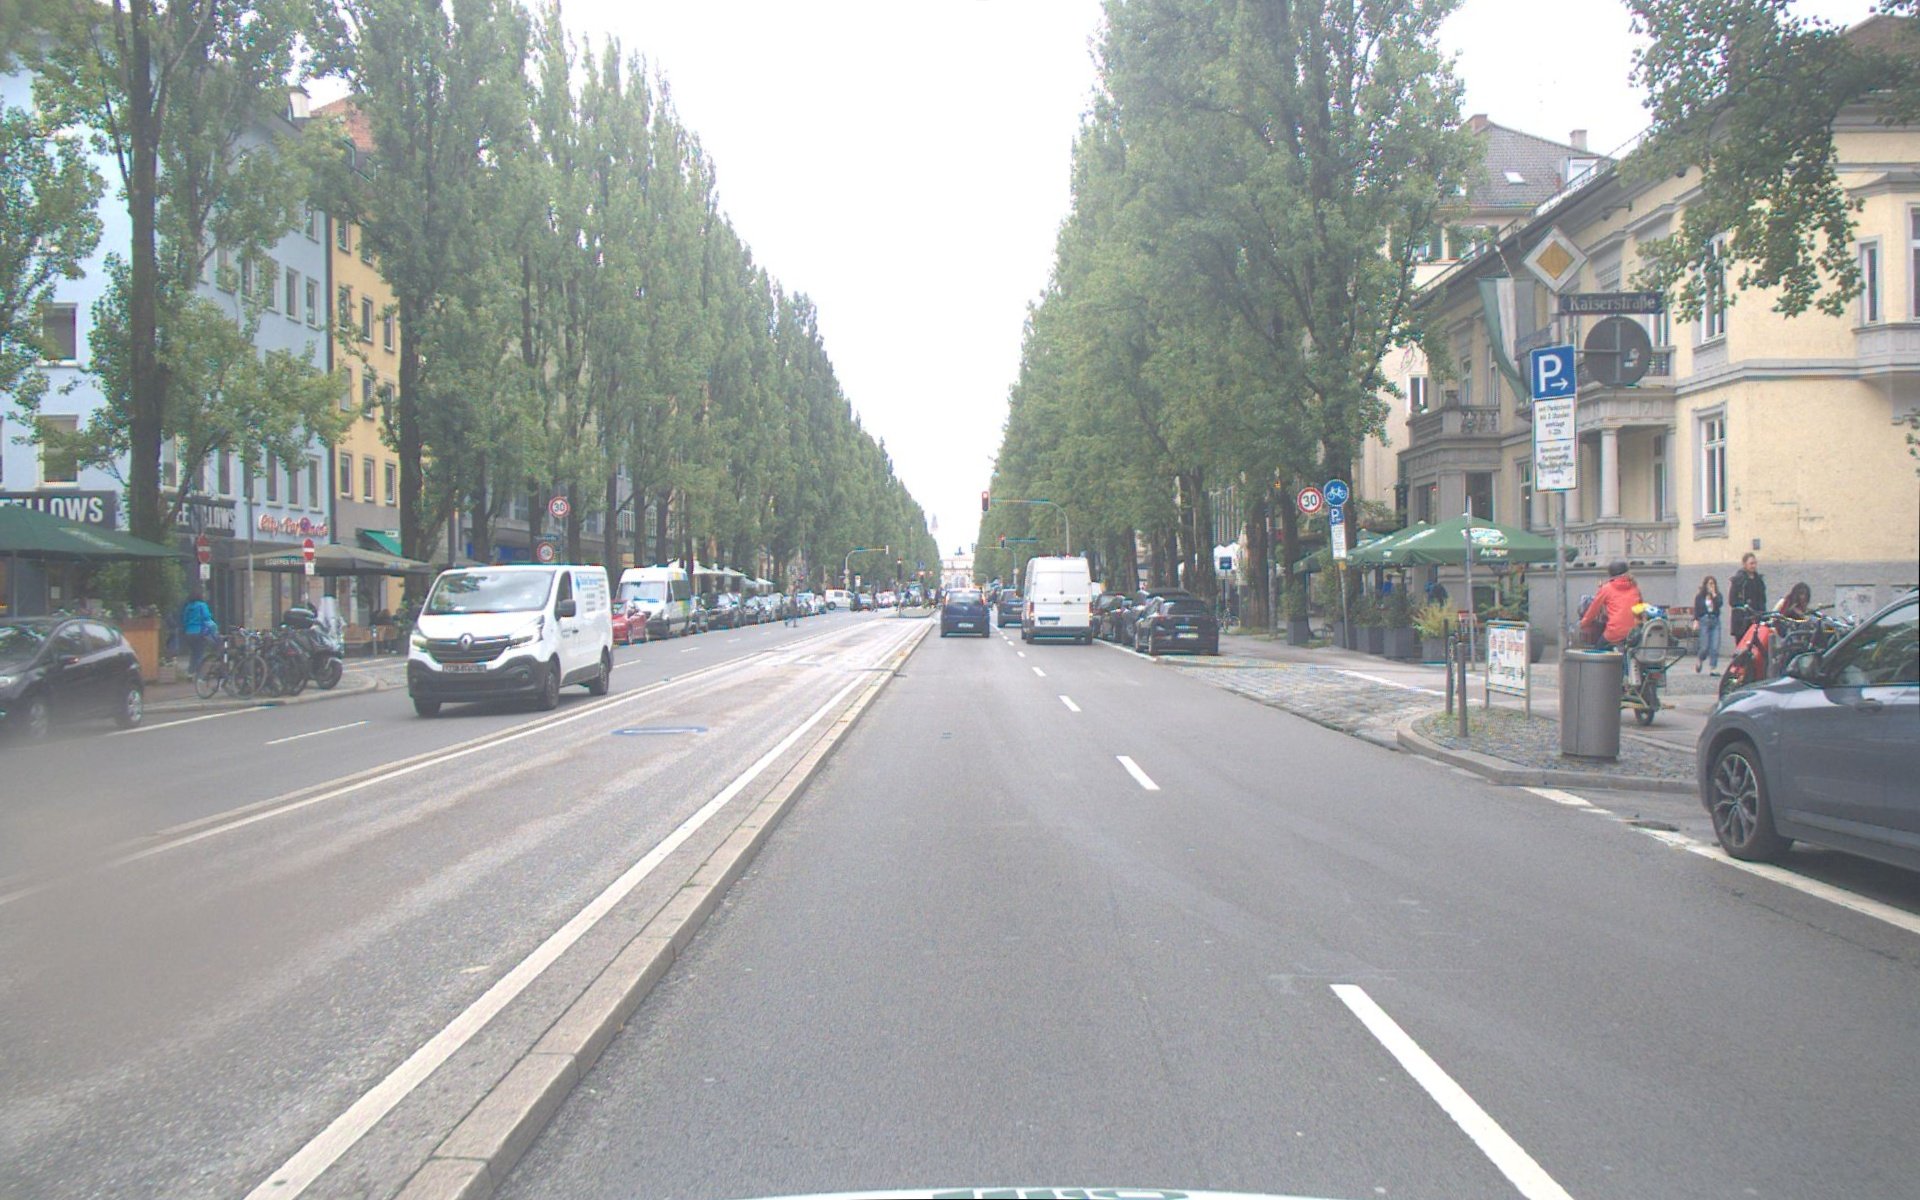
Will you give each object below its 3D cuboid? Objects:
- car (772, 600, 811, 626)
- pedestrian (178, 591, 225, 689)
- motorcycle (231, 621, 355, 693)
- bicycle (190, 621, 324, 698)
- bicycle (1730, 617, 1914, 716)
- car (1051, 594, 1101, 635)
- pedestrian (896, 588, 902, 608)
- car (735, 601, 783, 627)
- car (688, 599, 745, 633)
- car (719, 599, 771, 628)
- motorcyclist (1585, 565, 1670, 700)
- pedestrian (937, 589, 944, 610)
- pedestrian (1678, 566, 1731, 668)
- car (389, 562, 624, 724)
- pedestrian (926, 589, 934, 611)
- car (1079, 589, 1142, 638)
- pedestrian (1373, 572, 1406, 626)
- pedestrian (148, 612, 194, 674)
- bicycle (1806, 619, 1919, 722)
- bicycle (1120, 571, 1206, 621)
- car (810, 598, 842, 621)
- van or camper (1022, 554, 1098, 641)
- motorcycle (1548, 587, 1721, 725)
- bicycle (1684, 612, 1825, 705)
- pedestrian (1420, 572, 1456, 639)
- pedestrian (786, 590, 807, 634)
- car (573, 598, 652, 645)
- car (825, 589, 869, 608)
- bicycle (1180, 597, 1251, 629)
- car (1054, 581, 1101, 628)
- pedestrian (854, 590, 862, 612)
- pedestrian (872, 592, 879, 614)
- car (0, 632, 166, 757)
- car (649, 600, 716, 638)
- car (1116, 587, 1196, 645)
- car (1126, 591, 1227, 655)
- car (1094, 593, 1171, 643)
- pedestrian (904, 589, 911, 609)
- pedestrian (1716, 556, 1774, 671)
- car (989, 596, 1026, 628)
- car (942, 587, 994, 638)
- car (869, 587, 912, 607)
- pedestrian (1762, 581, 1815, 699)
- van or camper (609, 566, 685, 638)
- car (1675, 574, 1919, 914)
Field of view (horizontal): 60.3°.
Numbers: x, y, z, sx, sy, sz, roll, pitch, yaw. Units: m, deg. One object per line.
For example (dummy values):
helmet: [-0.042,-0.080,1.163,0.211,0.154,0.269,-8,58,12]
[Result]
car: [-10.486,0.813,103.417,1.891,1.512,4.111,-2,0,1]
pedestrian: [-14.317,0.748,31.226,0.654,1.818,0.826,1,-1,-16]
motorcycle: [-11.372,0.960,28.233,1.821,1.156,0.673,-1,0,-4]
bicycle: [-11.224,0.943,26.452,1.821,1.156,0.673,-1,0,-4]
bicycle: [9.916,0.745,19.023,2.023,1.041,0.687,-1,0,-20]
car: [4.710,0.612,67.816,1.726,1.624,3.999,0,-1,-1]
pedestrian: [-4.994,-0.174,136.262,0.421,1.695,0.387,-1,0,-8]
car: [-11.248,0.786,92.792,1.952,1.445,4.001,0,-1,3]
car: [-11.152,0.750,75.873,1.952,1.512,4.000,0,-1,1]
car: [-11.008,0.700,85.096,1.952,1.445,4.001,0,-1,3]
motorcyclist: [7.319,0.345,18.152,0.553,1.431,0.765,-2,0,-4]
pedestrian: [-1.577,-0.043,134.898,0.542,1.746,0.493,-2,0,0]
pedestrian: [12.464,0.279,27.708,0.634,1.675,0.766,0,-1,9]
car: [-6.299,0.570,23.593,1.953,1.967,4.917,-3,0,-1]
pedestrian: [-2.438,-0.029,133.717,0.542,1.746,0.493,-2,0,0]
car: [5.107,0.473,56.587,1.768,1.624,3.999,0,-1,-1]
pedestrian: [14.509,-0.036,55.831,0.798,1.786,0.931,-2,0,32]
pedestrian: [-20.786,1.126,43.581,0.778,1.569,0.898,-1,0,-1]
bicycle: [10.252,0.733,17.829,2.017,1.041,0.689,-1,0,-11]
bicycle: [8.380,-0.156,68.283,3.473,2.049,1.298,0,-1,8]
car: [-9.851,0.692,121.956,1.779,1.558,3.799,-4,-1,2]
van or camper: [2.981,-0.030,50.159,1.993,2.519,3.999,-1,-1,-1]
motorcycle: [7.344,0.574,18.149,0.810,1.394,2.251,-2,0,-4]
bicycle: [9.681,0.690,20.134,2.038,1.041,0.682,-1,0,-37]
pedestrian: [13.682,0.166,47.344,0.745,1.886,0.740,-1,0,-4]
pedestrian: [-7.598,0.549,76.754,0.792,2.049,0.720,-1,0,6]
car: [-11.321,0.694,54.112,1.758,1.454,3.999,0,-1,-1]
car: [-10.585,-0.129,154.753,3.912,1.775,1.996,0,-1,-9]
bicycle: [8.803,0.443,57.127,0.752,1.041,2.700,-1,0,-35]
car: [5.226,0.228,73.884,1.768,2.027,3.999,0,-1,-1]
pedestrian: [-8.283,0.065,134.259,0.542,1.746,0.493,-2,0,0]
pedestrian: [-6.795,0.217,132.917,0.542,1.746,0.493,-2,0,0]
car: [-11.285,1.083,19.832,1.773,1.272,3.699,-1,0,-1]
car: [-11.193,0.761,66.978,1.952,1.501,4.000,0,-1,1]
car: [5.537,0.418,47.155,1.748,1.551,3.940,-1,0,-1]
car: [5.400,0.546,41.679,1.904,1.493,3.999,-1,0,-1]
car: [5.370,0.573,51.930,1.953,1.490,3.999,0,-1,-1]
pedestrian: [-5.502,-0.083,173.268,0.754,2.049,0.897,0,-1,-1]
pedestrian: [13.184,0.225,27.799,0.686,1.905,0.766,0,-1,9]
car: [2.037,0.497,71.462,1.473,1.336,3.282,-1,0,-1]
car: [0.269,0.434,56.479,1.723,1.648,3.747,0,-1,0]
car: [-6.598,-0.314,157.394,3.910,1.775,1.997,-1,0,-6]
pedestrian: [11.989,0.570,23.959,0.655,1.679,0.625,-1,0,26]
van or camper: [-11.288,0.068,59.980,1.953,2.501,4.250,-1,0,-1]
car: [5.286,0.661,8.106,1.591,1.592,4.370,-1,0,-1]
